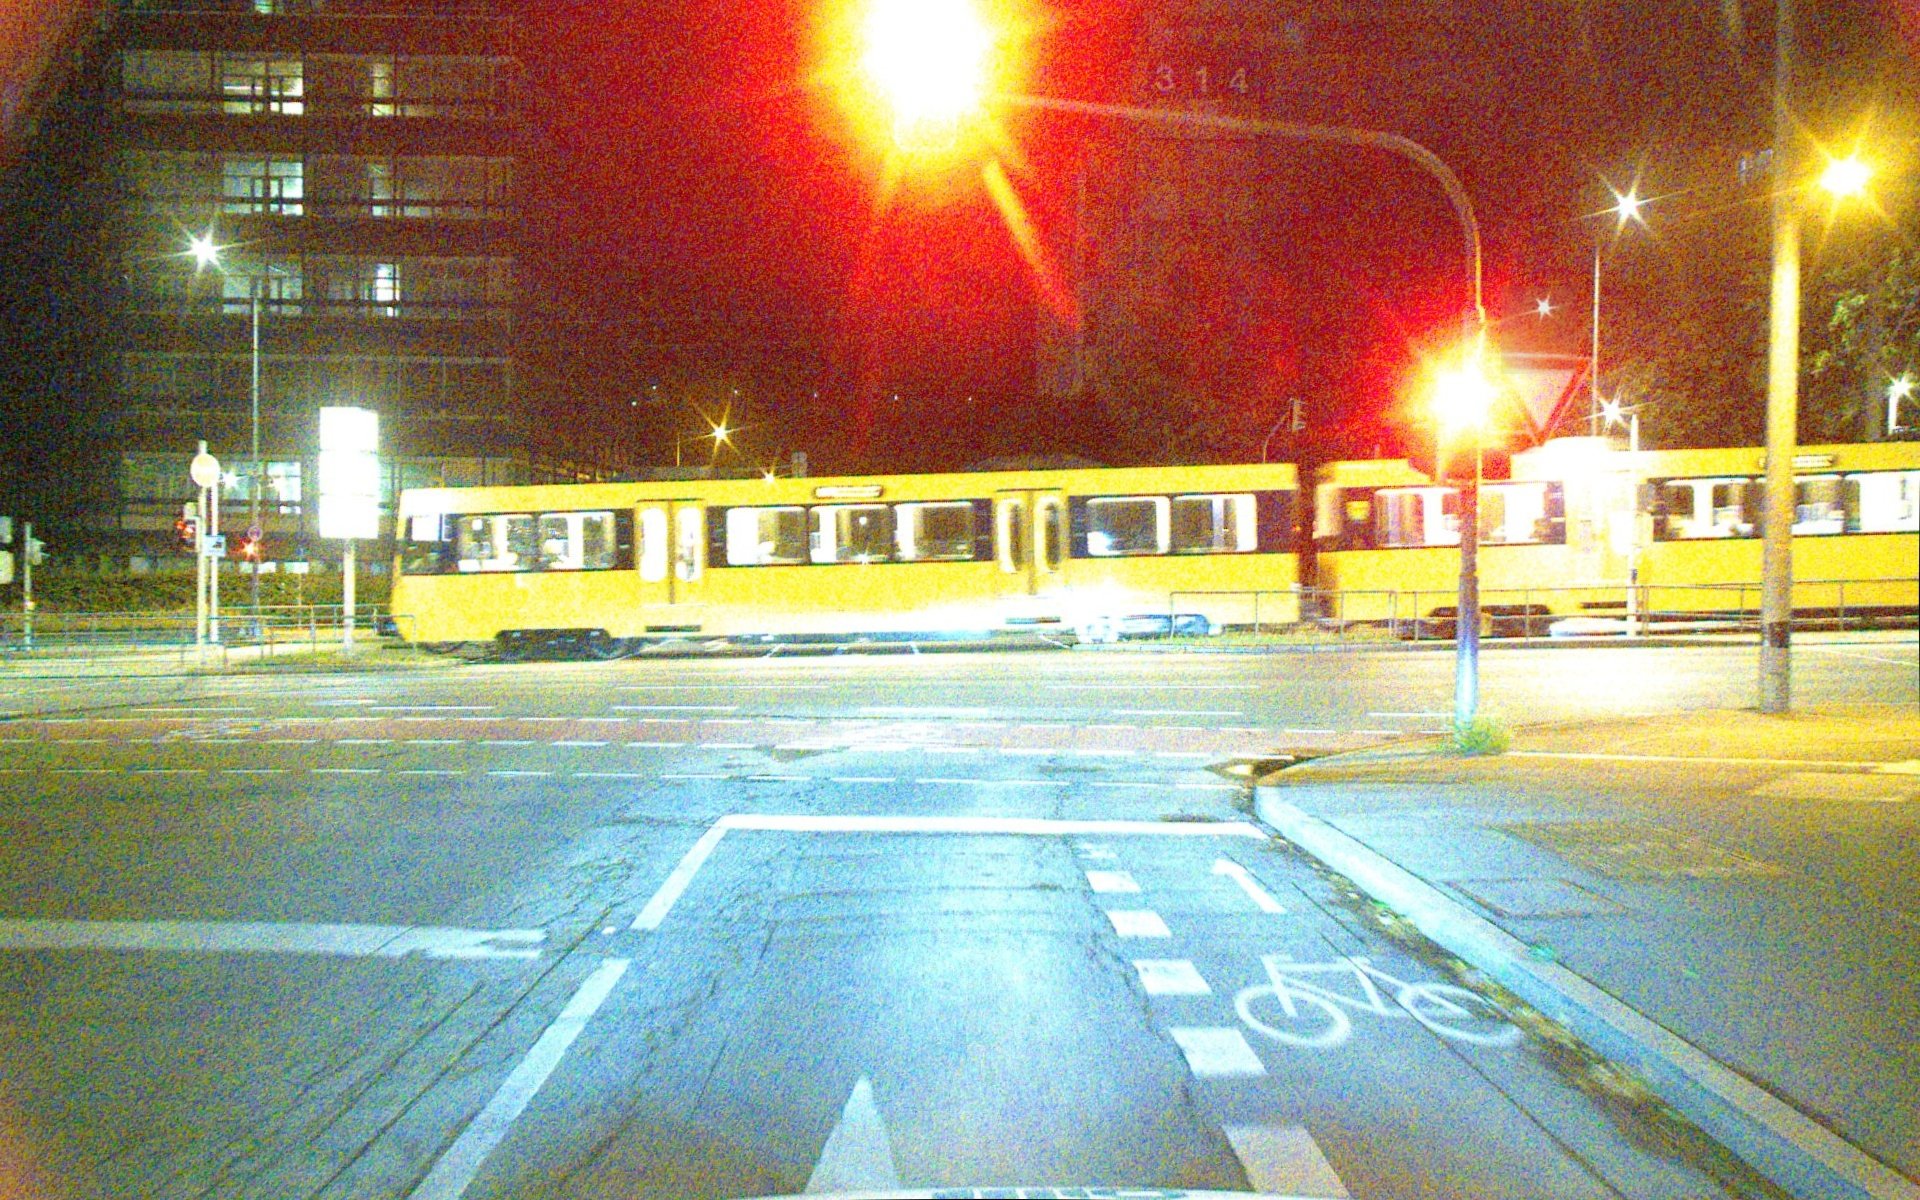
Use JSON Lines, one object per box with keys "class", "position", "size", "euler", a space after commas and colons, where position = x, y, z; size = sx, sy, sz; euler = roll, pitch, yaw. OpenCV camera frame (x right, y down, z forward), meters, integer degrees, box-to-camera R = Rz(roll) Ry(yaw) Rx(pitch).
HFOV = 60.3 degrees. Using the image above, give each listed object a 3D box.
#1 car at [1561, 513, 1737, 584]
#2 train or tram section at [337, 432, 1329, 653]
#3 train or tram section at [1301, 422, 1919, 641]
{"class": "car", "position": [18.526, -1.374, 44.598], "size": [3.972, 1.643, 1.870], "euler": [-3, 1, 7]}
{"class": "train or tram section", "position": [-2.560, -1.090, 33.647], "size": [19.376, 3.929, 2.942], "euler": [-1, 0, 4]}
{"class": "train or tram section", "position": [16.378, -1.353, 32.313], "size": [18.770, 3.890, 2.925], "euler": [-1, 0, 4]}
